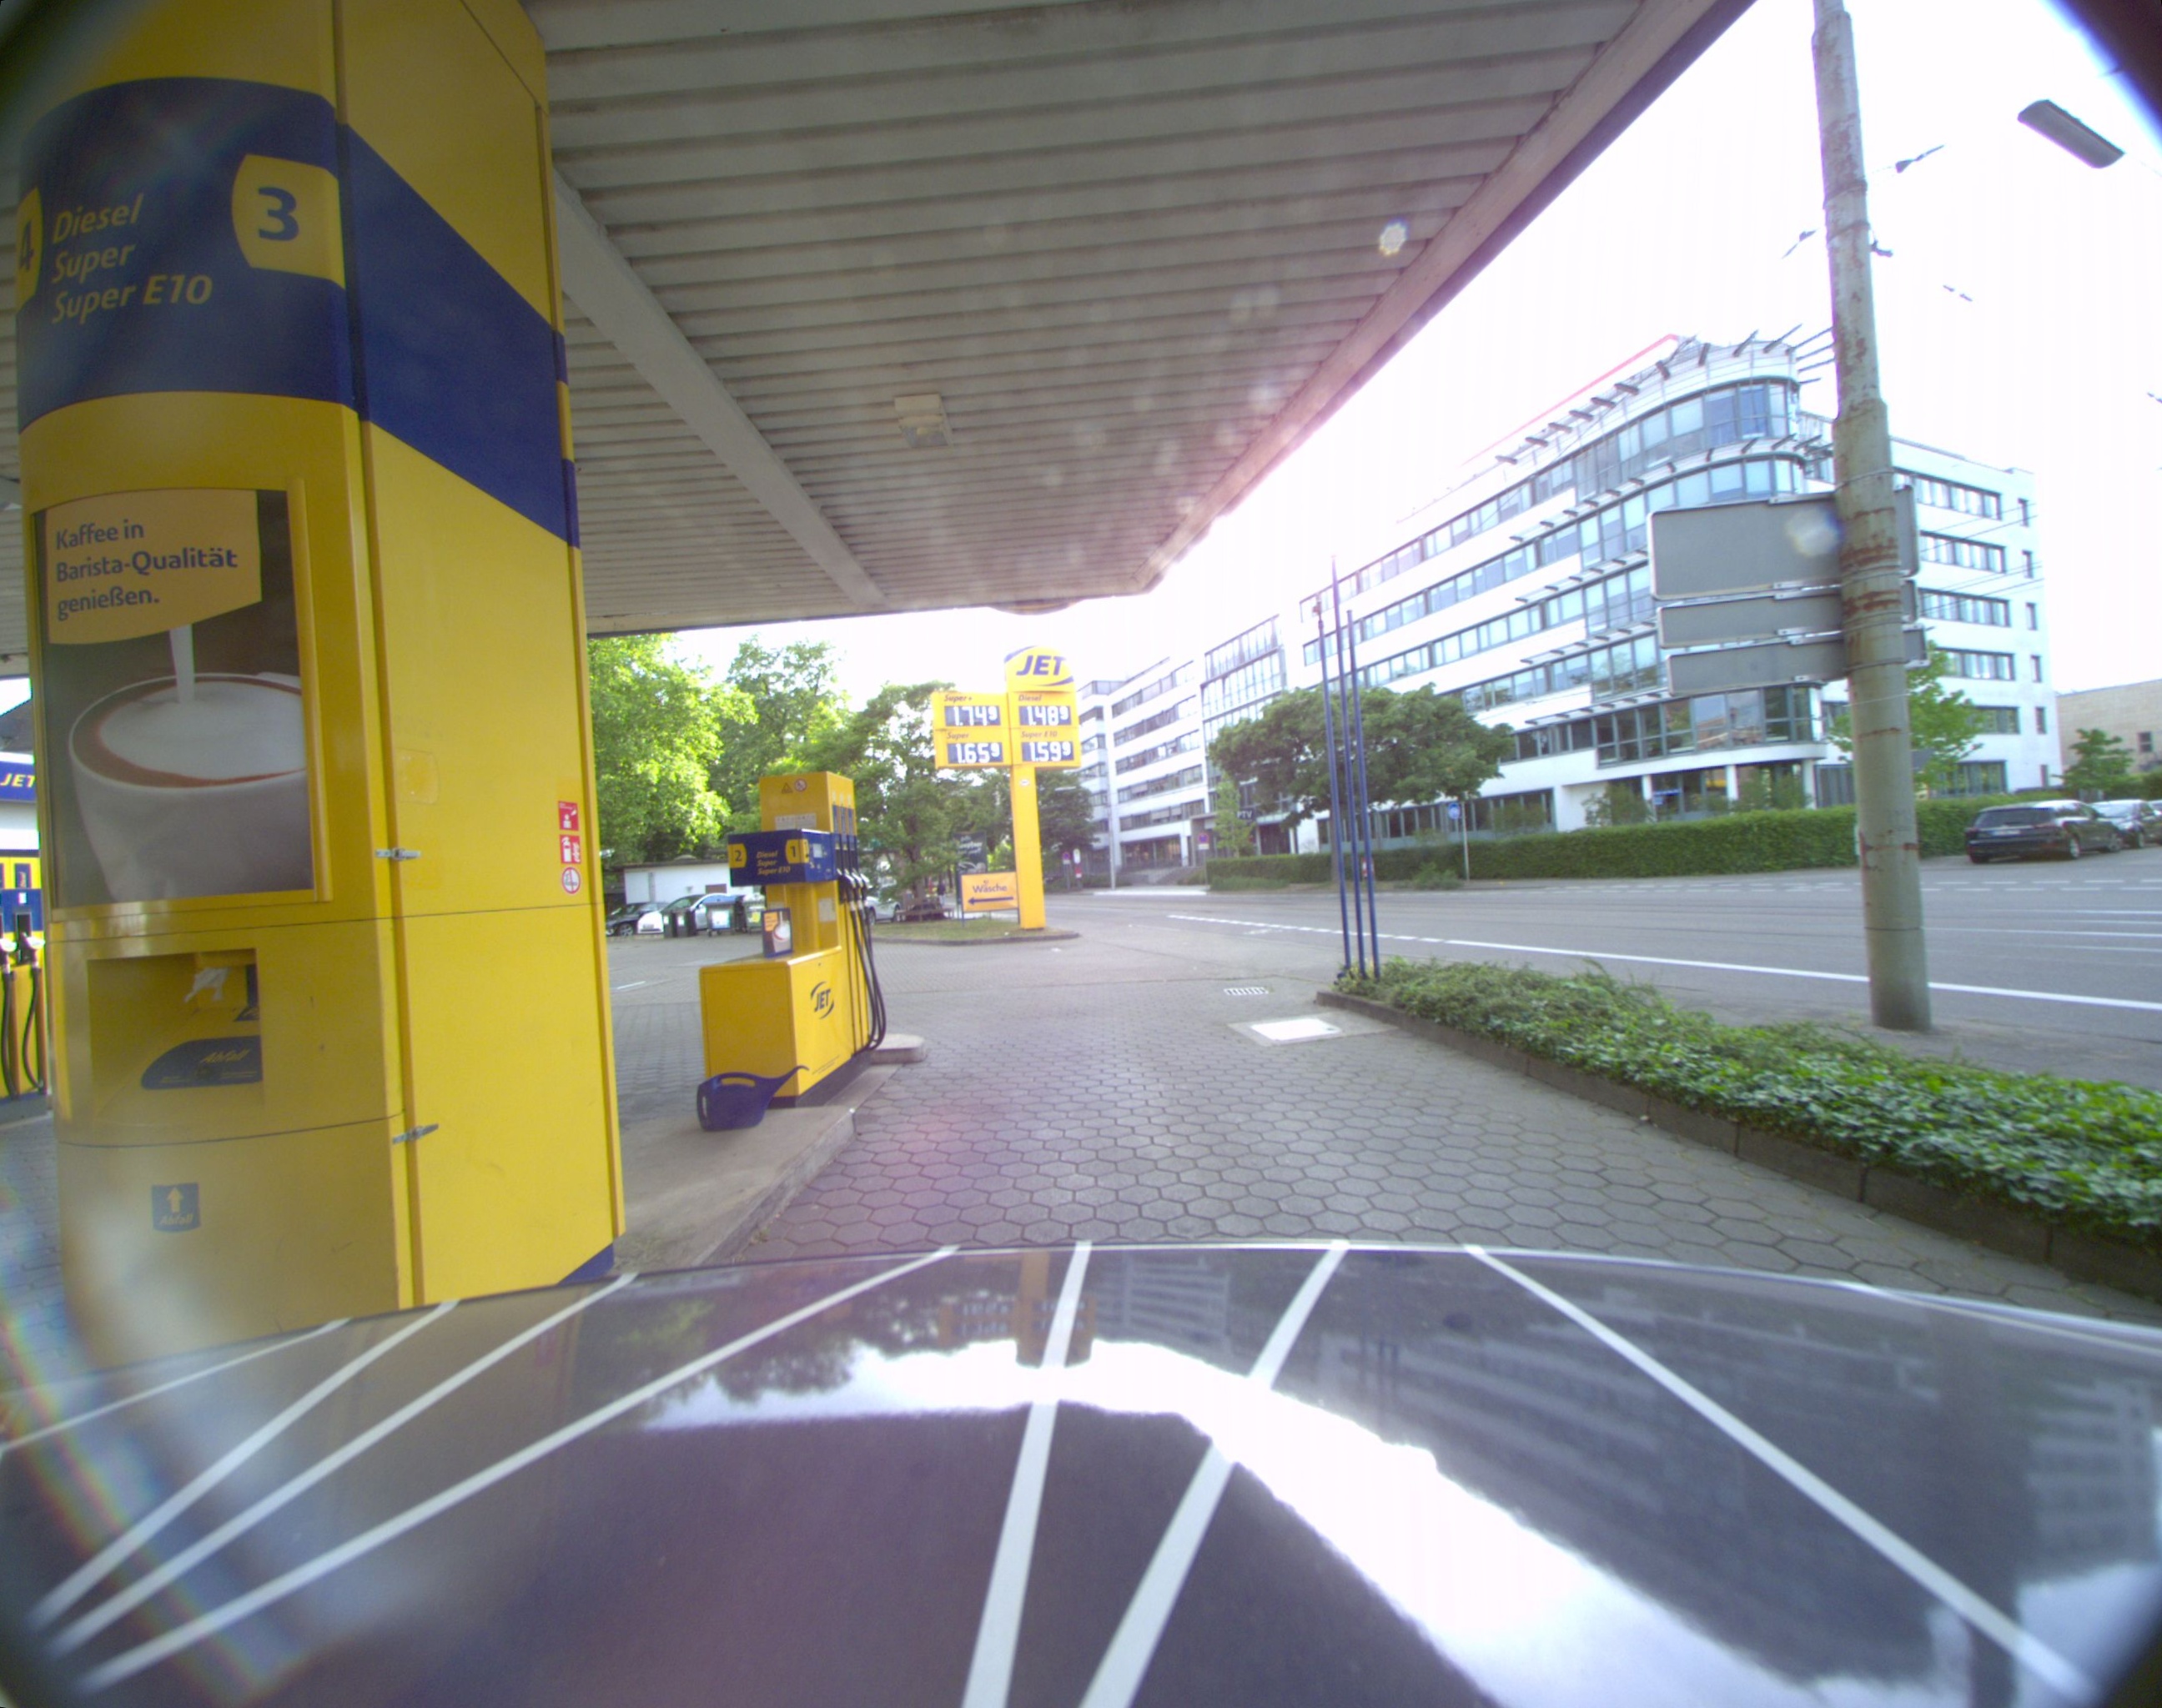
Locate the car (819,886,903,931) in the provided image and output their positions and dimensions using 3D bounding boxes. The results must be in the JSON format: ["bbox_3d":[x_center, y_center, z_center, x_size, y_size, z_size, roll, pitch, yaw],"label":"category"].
[{"bbox_3d":[-8.693,2.122,30.391,1.739,1.500,4.003,-4,-2,6],"label":"car"}]

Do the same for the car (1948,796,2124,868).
[{"bbox_3d":[27.370,-0.639,21.779,4.438,1.603,1.976,-5,-1,-23],"label":"car"}]

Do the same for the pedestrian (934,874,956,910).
[{"bbox_3d":[-7.971,2.209,44.418,0.934,2.001,1.214,-2,-1,-24],"label":"pedestrian"}]

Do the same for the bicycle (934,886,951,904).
[{"bbox_3d":[-10.190,2.994,55.853,0.736,1.250,1.936,-5,-1,-23],"label":"bicycle"}]

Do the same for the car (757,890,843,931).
[{"bbox_3d":[-11.808,2.328,32.253,1.739,1.500,4.004,-4,-2,6],"label":"car"}]

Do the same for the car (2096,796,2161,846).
[{"bbox_3d":[37.145,-1.223,26.088,4.109,1.544,1.786,-4,-1,-23],"label":"car"}]

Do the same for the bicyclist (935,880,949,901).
[{"bbox_3d":[-10.200,2.674,55.827,0.736,1.451,0.915,-5,0,-23],"label":"bicyclist"}]

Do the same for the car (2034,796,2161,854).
[{"bbox_3d":[32.485,-0.930,24.051,4.109,1.544,1.786,-4,-1,-23],"label":"car"}]

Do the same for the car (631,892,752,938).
[{"bbox_3d":[-15.366,2.388,30.265,1.785,1.514,4.229,-4,-3,17],"label":"car"}]

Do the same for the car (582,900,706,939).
[{"bbox_3d":[-17.752,2.636,31.081,1.745,1.269,4.230,-5,-3,19],"label":"car"}]
